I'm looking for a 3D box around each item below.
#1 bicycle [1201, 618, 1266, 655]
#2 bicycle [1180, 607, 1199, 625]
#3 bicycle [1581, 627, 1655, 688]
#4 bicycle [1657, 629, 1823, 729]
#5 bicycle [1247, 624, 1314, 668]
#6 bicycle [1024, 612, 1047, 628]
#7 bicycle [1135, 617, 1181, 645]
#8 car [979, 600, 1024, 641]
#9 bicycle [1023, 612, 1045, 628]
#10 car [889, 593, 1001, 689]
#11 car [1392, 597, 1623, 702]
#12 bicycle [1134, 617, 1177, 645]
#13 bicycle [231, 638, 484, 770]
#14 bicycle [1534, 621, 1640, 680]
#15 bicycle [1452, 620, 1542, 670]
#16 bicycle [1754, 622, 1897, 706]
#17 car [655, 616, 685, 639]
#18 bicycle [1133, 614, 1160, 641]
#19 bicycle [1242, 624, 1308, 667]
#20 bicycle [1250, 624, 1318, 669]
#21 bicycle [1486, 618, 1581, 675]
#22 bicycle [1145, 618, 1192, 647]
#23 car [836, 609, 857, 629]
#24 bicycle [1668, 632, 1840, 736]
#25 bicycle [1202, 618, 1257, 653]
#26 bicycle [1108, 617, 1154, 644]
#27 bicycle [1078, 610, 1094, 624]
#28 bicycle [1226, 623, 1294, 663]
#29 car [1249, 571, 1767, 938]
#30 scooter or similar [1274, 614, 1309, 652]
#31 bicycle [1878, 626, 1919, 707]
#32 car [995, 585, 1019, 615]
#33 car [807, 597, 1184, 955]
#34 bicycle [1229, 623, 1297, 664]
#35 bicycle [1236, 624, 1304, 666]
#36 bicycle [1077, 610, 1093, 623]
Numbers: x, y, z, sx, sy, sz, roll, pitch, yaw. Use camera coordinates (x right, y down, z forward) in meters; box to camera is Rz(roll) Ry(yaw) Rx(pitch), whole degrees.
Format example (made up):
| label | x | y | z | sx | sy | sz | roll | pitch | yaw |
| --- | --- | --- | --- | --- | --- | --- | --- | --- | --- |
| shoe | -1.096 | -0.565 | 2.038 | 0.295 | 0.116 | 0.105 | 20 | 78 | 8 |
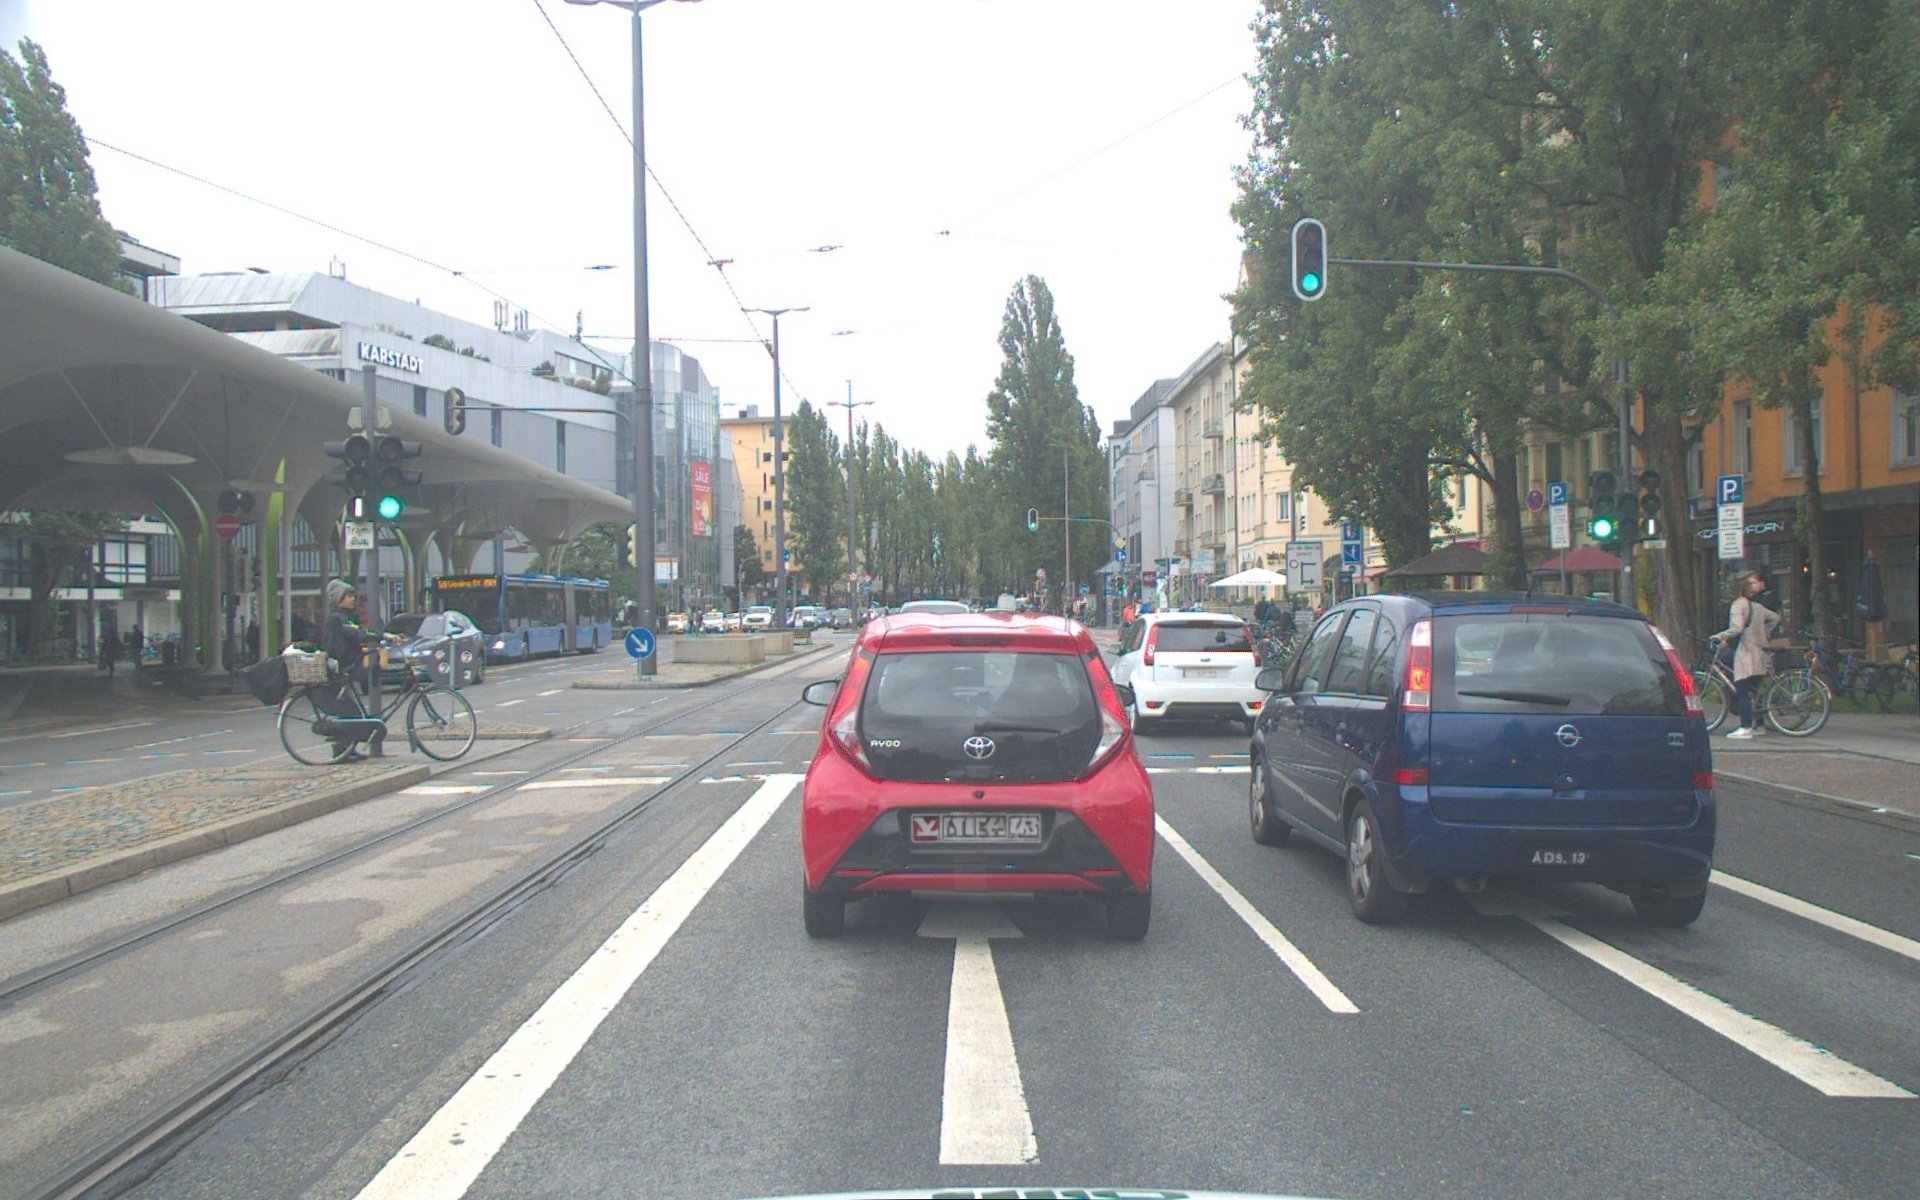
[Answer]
| label | x | y | z | sx | sy | sz | roll | pitch | yaw |
| --- | --- | --- | --- | --- | --- | --- | --- | --- | --- |
| bicycle | 7.825 | 1.044 | 47.410 | 1.799 | 1.013 | 0.375 | 0 | 1 | 24 |
| bicycle | 14.050 | 0.982 | 101.302 | 0.486 | 1.077 | 1.858 | -1 | 0 | -15 |
| bicycle | 11.192 | 0.960 | 28.170 | 0.577 | 0.982 | 1.653 | -1 | 0 | 0 |
| bicycle | 9.153 | 0.920 | 19.441 | 1.709 | 1.122 | 0.358 | -2 | -1 | 35 |
| bicycle | 7.910 | 1.127 | 40.929 | 0.372 | 1.013 | 1.816 | -1 | 1 | -39 |
| bicycle | 5.014 | 1.323 | 109.866 | 0.495 | 1.046 | 1.576 | -1 | 0 | -42 |
| bicycle | 7.599 | 1.204 | 63.538 | 1.807 | 1.013 | 0.346 | -2 | -1 | 39 |
| car | 1.940 | 0.940 | 78.632 | 1.953 | 1.870 | 3.999 | -1 | 0 | -1 |
| bicycle | 4.933 | 1.323 | 110.721 | 0.495 | 1.046 | 1.576 | -1 | 0 | -42 |
| car | -0.302 | 0.741 | 31.471 | 1.953 | 1.646 | 3.999 | -2 | 0 | -1 |
| car | 8.538 | 0.723 | 26.259 | 1.954 | 1.465 | 4.527 | -2 | 0 | -3 |
| bicycle | 7.587 | 1.206 | 64.225 | 1.810 | 1.013 | 0.346 | -2 | -1 | 43 |
| bicycle | -5.673 | 0.952 | 15.651 | 2.201 | 1.170 | 0.501 | 1 | -1 | -31 |
| bicycle | 11.951 | 0.950 | 31.521 | 1.850 | 1.072 | 0.458 | -1 | -1 | -4 |
| bicycle | 12.031 | 1.004 | 37.087 | 1.848 | 1.072 | 0.458 | -1 | -1 | 1 |
| bicycle | 12.199 | 0.897 | 23.325 | 1.760 | 1.129 | 0.447 | 1 | 0 | 1 |
| car | -21.450 | 2.031 | 122.234 | 1.959 | 1.563 | 4.400 | -2 | 0 | -13 |
| bicycle | 9.372 | 1.376 | 83.380 | 0.603 | 1.287 | 2.512 | -1 | 0 | -11 |
| bicycle | 7.924 | 1.130 | 41.693 | 0.372 | 1.013 | 1.816 | -1 | 1 | -39 |
| bicycle | 7.871 | 1.124 | 40.287 | 0.372 | 1.013 | 1.816 | -1 | 1 | -39 |
| bicycle | 12.526 | 1.009 | 36.140 | 1.848 | 1.194 | 0.582 | -1 | -1 | 1 |
| bicycle | 7.552 | 1.196 | 59.947 | 1.810 | 1.013 | 0.346 | -3 | -1 | 44 |
| car | -8.664 | 1.434 | 126.158 | 1.515 | 1.471 | 3.536 | -2 | 0 | -4 |
| bicycle | 8.948 | 0.932 | 18.701 | 0.356 | 1.122 | 1.716 | -1 | -1 | -44 |
| bicycle | 8.067 | 1.057 | 49.591 | 0.322 | 1.013 | 1.813 | -1 | 1 | -43 |
| bicycle | 8.326 | 1.491 | 80.622 | 0.610 | 1.287 | 2.482 | -1 | 0 | -41 |
| bicycle | 9.327 | 1.245 | 122.678 | 1.156 | 0.980 | 0.369 | -2 | 0 | 3 |
| bicycle | 7.947 | 1.138 | 43.819 | 1.806 | 1.013 | 0.373 | 0 | 1 | 38 |
| car | 2.744 | 0.688 | 9.114 | 1.668 | 1.617 | 3.556 | 0 | 0 | 0 |
| scooter or similar | 9.965 | 0.980 | 49.739 | 0.760 | 1.094 | 1.256 | -1 | 0 | -2 |
| bicycle | 13.979 | 0.927 | 23.364 | 1.760 | 1.129 | 0.447 | 0 | 0 | 1 |
| car | 4.465 | -0.006 | 157.139 | 2.064 | 2.766 | 4.803 | -2 | 0 | 0 |
| car | 0.167 | 0.740 | 8.527 | 1.572 | 1.487 | 3.130 | 1 | 0 | 0 |
| bicycle | 7.895 | 1.135 | 43.137 | 1.809 | 1.013 | 0.373 | 1 | 1 | 42 |
| bicycle | 7.941 | 1.133 | 42.388 | 1.811 | 1.013 | 0.373 | 1 | 1 | 45 |
| bicycle | 9.318 | 1.227 | 123.221 | 1.157 | 0.980 | 0.369 | -2 | 0 | -2 |
